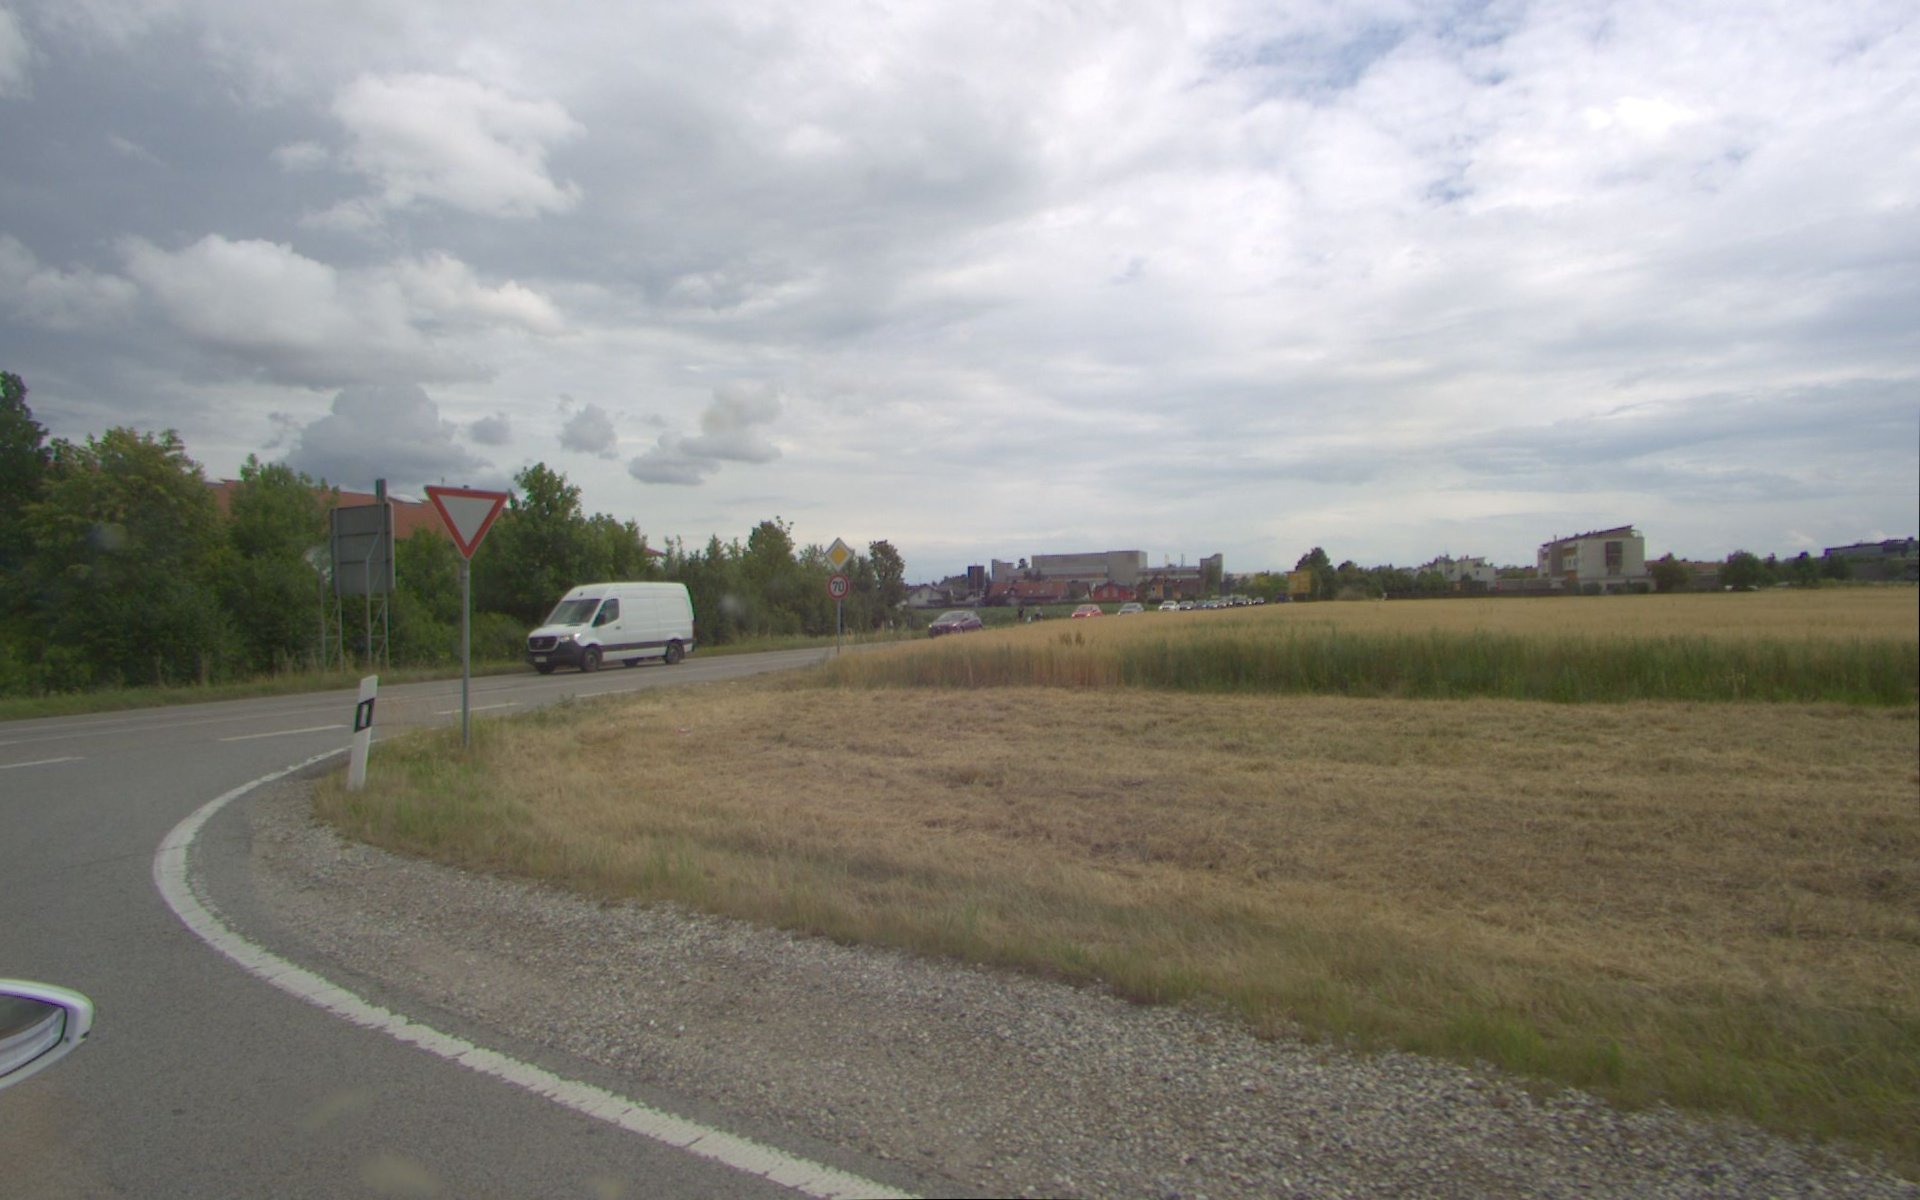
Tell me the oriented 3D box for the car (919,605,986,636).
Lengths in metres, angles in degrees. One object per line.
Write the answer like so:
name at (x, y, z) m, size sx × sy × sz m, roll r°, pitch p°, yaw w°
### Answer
car at (-0.367, 1.048, 53.338) m, size 1.968 × 1.483 × 4.147 m, roll -2°, pitch 0°, yaw 24°

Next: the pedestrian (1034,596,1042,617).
pedestrian at (6.640, 0.557, 85.147) m, size 0.521 × 1.705 × 0.626 m, roll 0°, pitch 2°, yaw 19°

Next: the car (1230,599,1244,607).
car at (44.337, 0.505, 160.229) m, size 1.825 × 1.287 × 3.520 m, roll -1°, pitch 0°, yaw 22°

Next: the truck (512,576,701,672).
truck at (-10.678, 0.692, 30.885) m, size 1.966 × 2.609 × 6.000 m, roll -2°, pitch -1°, yaw 22°

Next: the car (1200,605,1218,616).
car at (33.440, 1.396, 134.282) m, size 1.825 × 1.287 × 3.520 m, roll -1°, pitch 0°, yaw 22°

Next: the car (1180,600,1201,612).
car at (26.903, 0.688, 116.949) m, size 1.825 × 1.287 × 3.520 m, roll -1°, pitch 0°, yaw 22°

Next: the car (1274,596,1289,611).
car at (60.856, 0.608, 189.600) m, size 2.114 × 2.675 × 5.552 m, roll 0°, pitch 1°, yaw 24°

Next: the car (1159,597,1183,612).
car at (22.516, 0.459, 106.915) m, size 1.825 × 1.486 × 3.989 m, roll -1°, pitch 0°, yaw 22°

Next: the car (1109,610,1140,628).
car at (14.584, 1.659, 88.690) m, size 1.825 × 1.486 × 3.988 m, roll -1°, pitch 0°, yaw 23°

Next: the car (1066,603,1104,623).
car at (9.664, 0.987, 77.331) m, size 1.825 × 1.486 × 3.988 m, roll -1°, pitch 0°, yaw 23°

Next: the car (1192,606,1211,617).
car at (30.554, 1.391, 126.631) m, size 1.825 × 1.287 × 3.520 m, roll -1°, pitch 0°, yaw 22°

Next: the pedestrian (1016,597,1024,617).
pedestrian at (5.149, 0.585, 85.656) m, size 0.521 × 1.705 × 0.626 m, roll 0°, pitch 2°, yaw 19°

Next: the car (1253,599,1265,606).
car at (54.619, 0.480, 182.744) m, size 1.825 × 1.287 × 3.520 m, roll -1°, pitch 0°, yaw 22°
